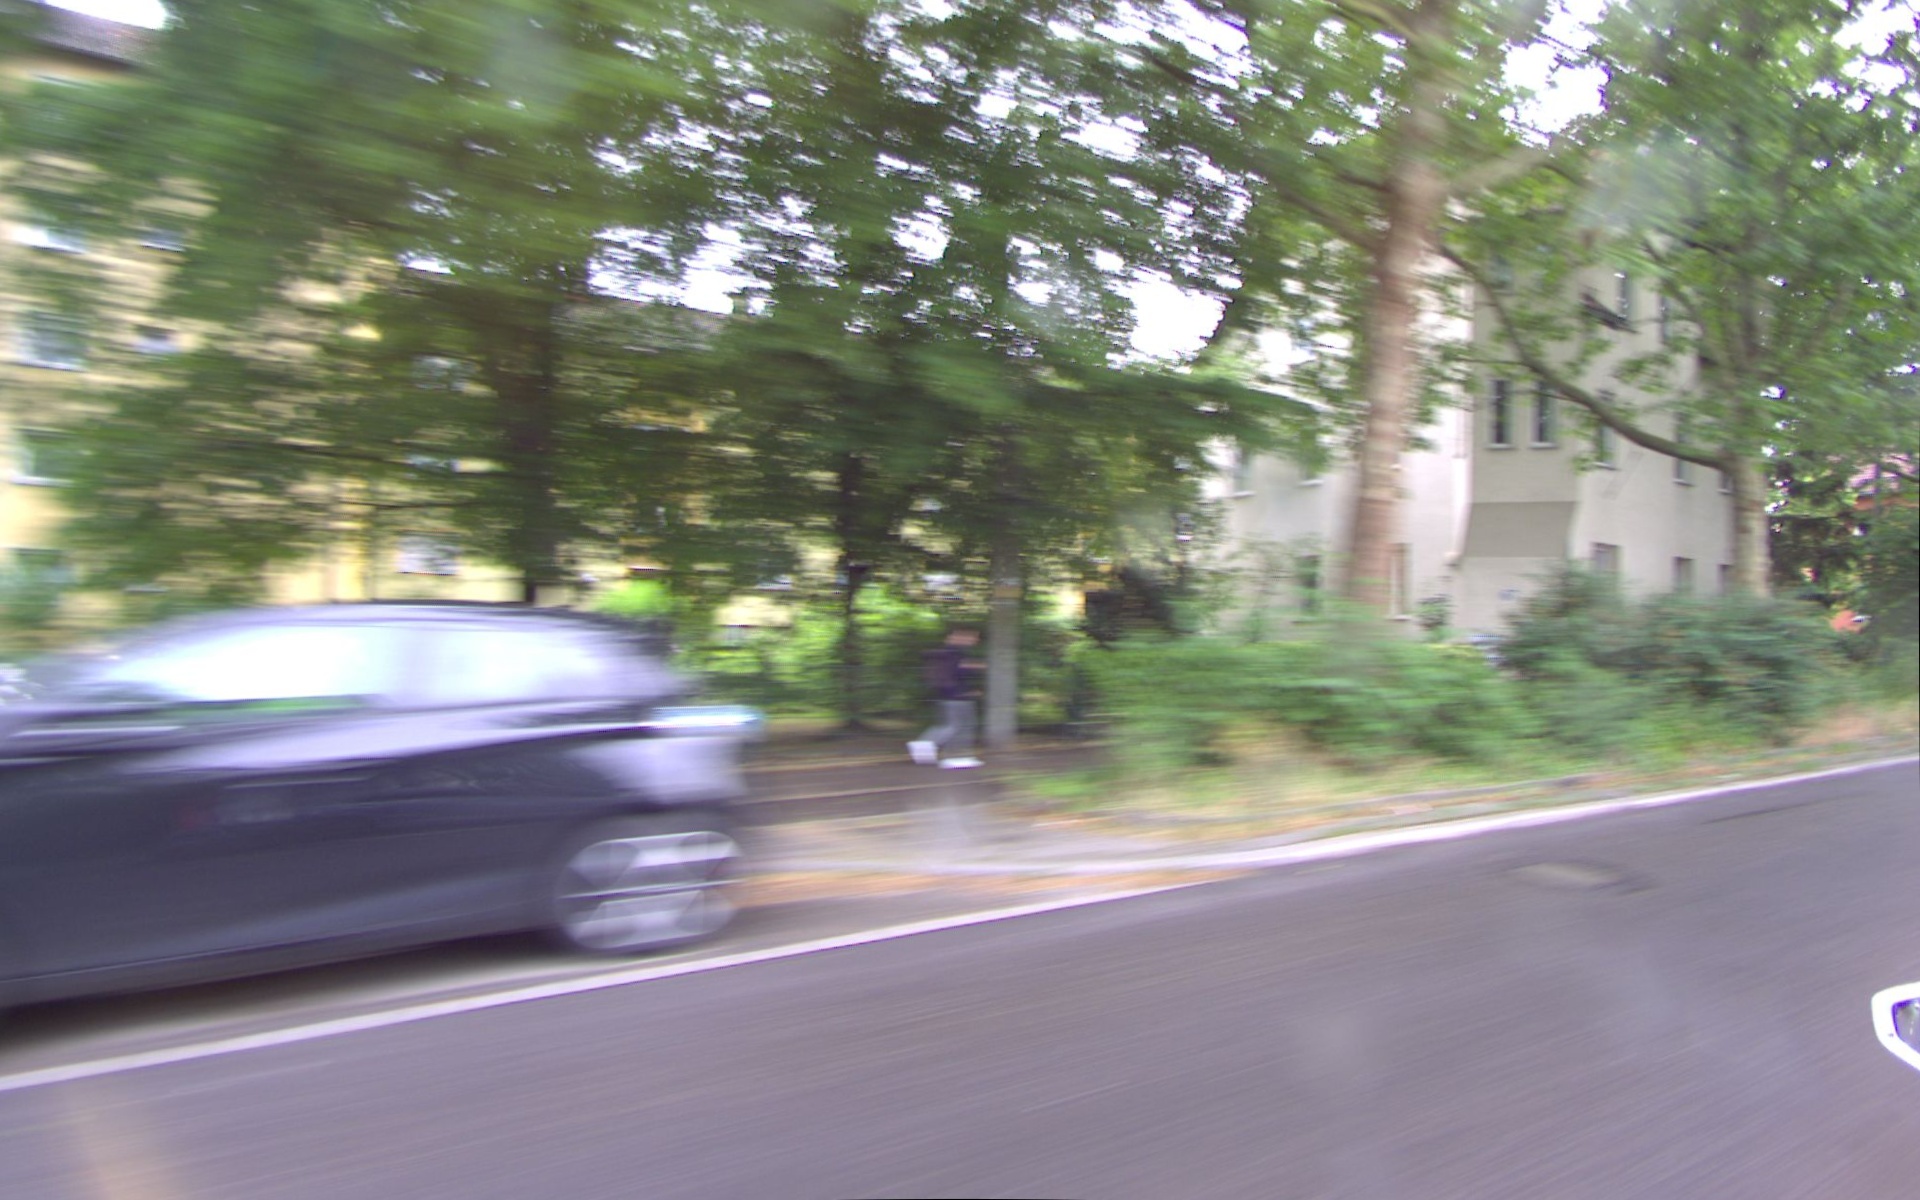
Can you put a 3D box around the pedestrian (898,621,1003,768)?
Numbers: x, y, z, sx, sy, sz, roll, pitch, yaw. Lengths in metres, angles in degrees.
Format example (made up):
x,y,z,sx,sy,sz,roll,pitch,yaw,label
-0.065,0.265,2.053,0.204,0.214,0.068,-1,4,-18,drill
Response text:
x,y,z,sx,sy,sz,roll,pitch,yaw,label
-0.114,1.096,11.815,1.009,1.641,0.584,3,-1,-29,pedestrian

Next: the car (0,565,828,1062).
x,y,z,sx,sy,sz,roll,pitch,yaw,label
-2.726,0.755,4.320,3.972,1.557,1.640,2,-5,-31,car
